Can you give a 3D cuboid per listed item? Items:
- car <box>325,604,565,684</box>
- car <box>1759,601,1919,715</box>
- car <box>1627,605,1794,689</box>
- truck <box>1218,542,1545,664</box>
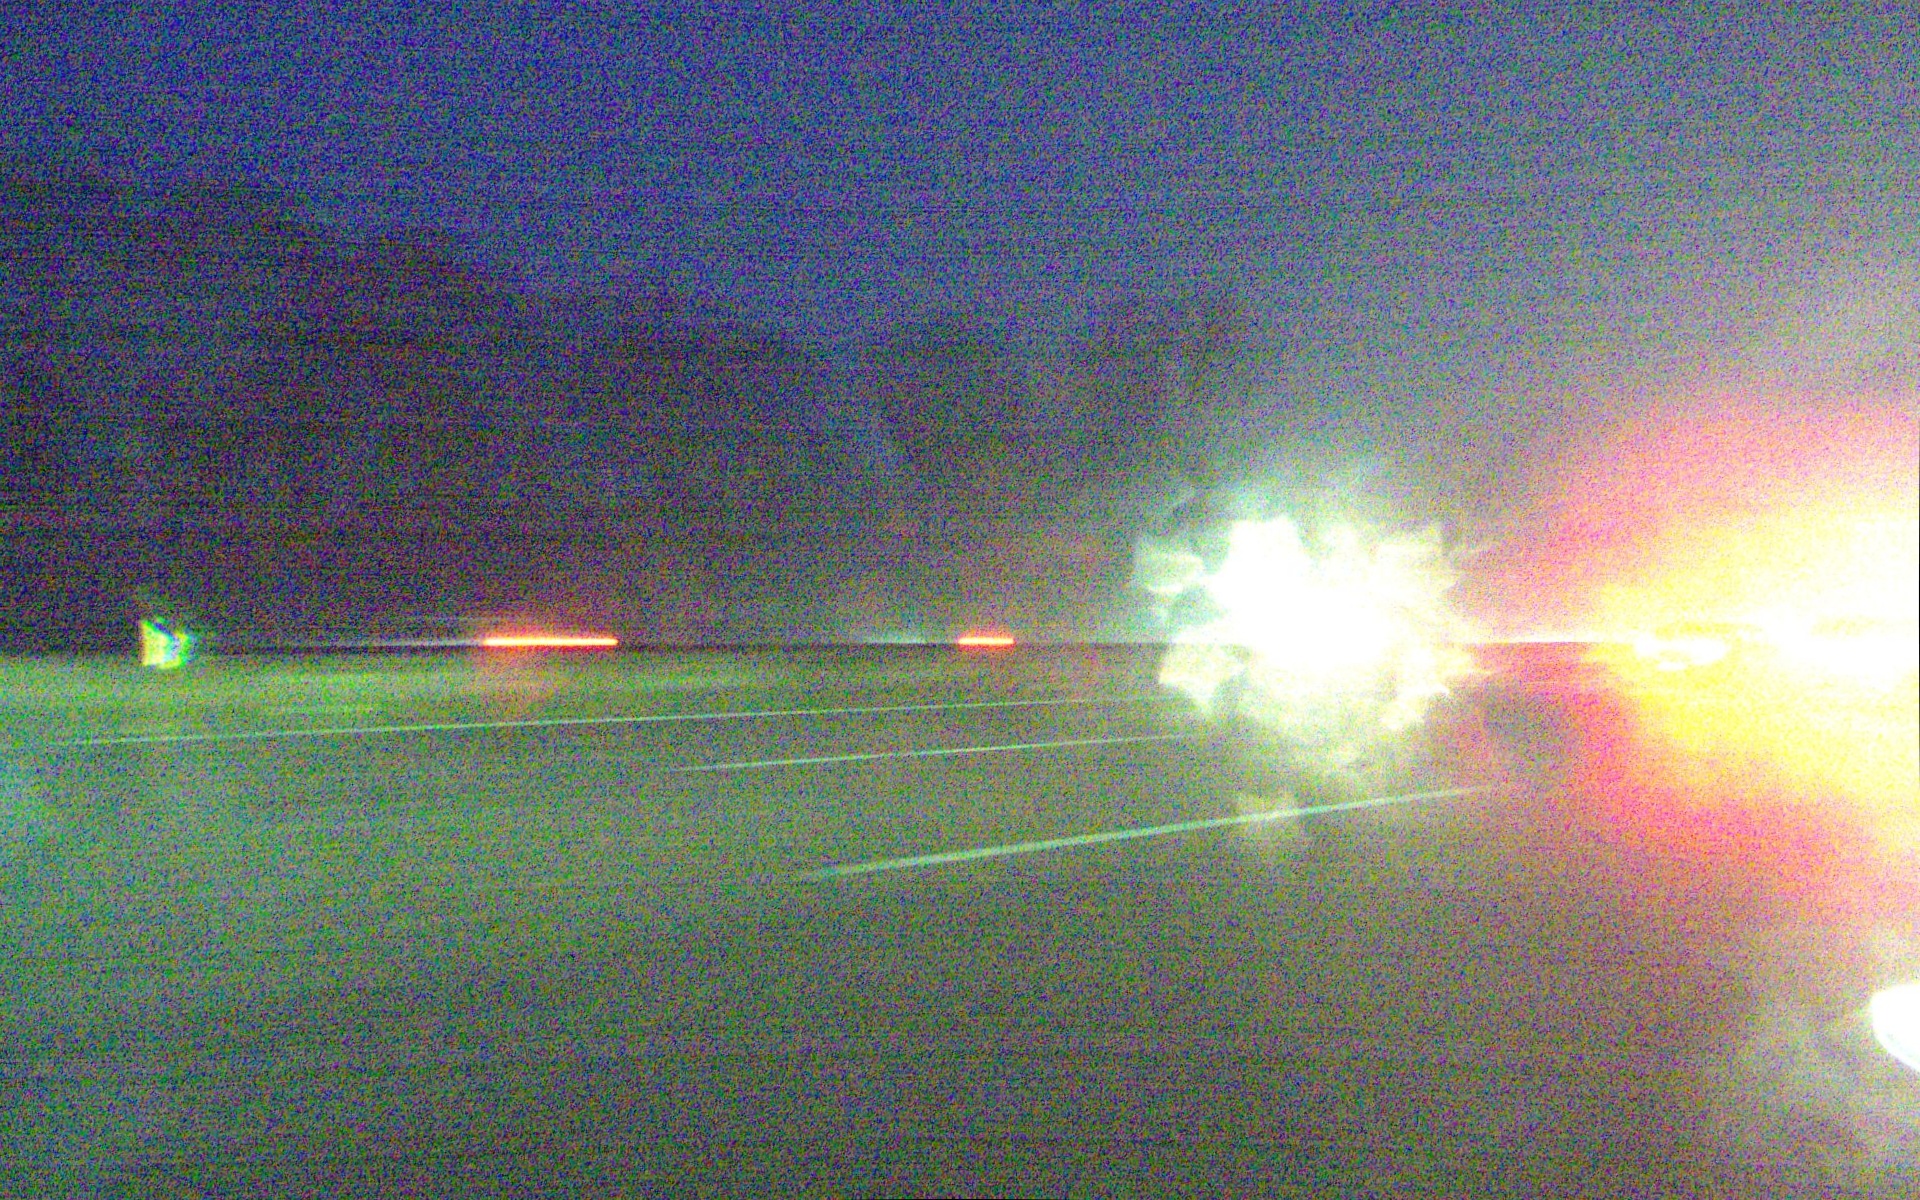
[{"bbox_3d":[-10.664,0.889,20.968,4.275,1.490,1.683,1,0,-31],"label":"car"},{"bbox_3d":[16.505,0.976,18.161,4.470,1.785,2.025,1,0,-35],"label":"car"},{"bbox_3d":[16.868,0.994,22.548,3.957,1.712,1.755,0,0,-33],"label":"car"},{"bbox_3d":[18.514,0.280,42.951,17.287,4.520,3.190,1,0,-31],"label":"truck"}]
